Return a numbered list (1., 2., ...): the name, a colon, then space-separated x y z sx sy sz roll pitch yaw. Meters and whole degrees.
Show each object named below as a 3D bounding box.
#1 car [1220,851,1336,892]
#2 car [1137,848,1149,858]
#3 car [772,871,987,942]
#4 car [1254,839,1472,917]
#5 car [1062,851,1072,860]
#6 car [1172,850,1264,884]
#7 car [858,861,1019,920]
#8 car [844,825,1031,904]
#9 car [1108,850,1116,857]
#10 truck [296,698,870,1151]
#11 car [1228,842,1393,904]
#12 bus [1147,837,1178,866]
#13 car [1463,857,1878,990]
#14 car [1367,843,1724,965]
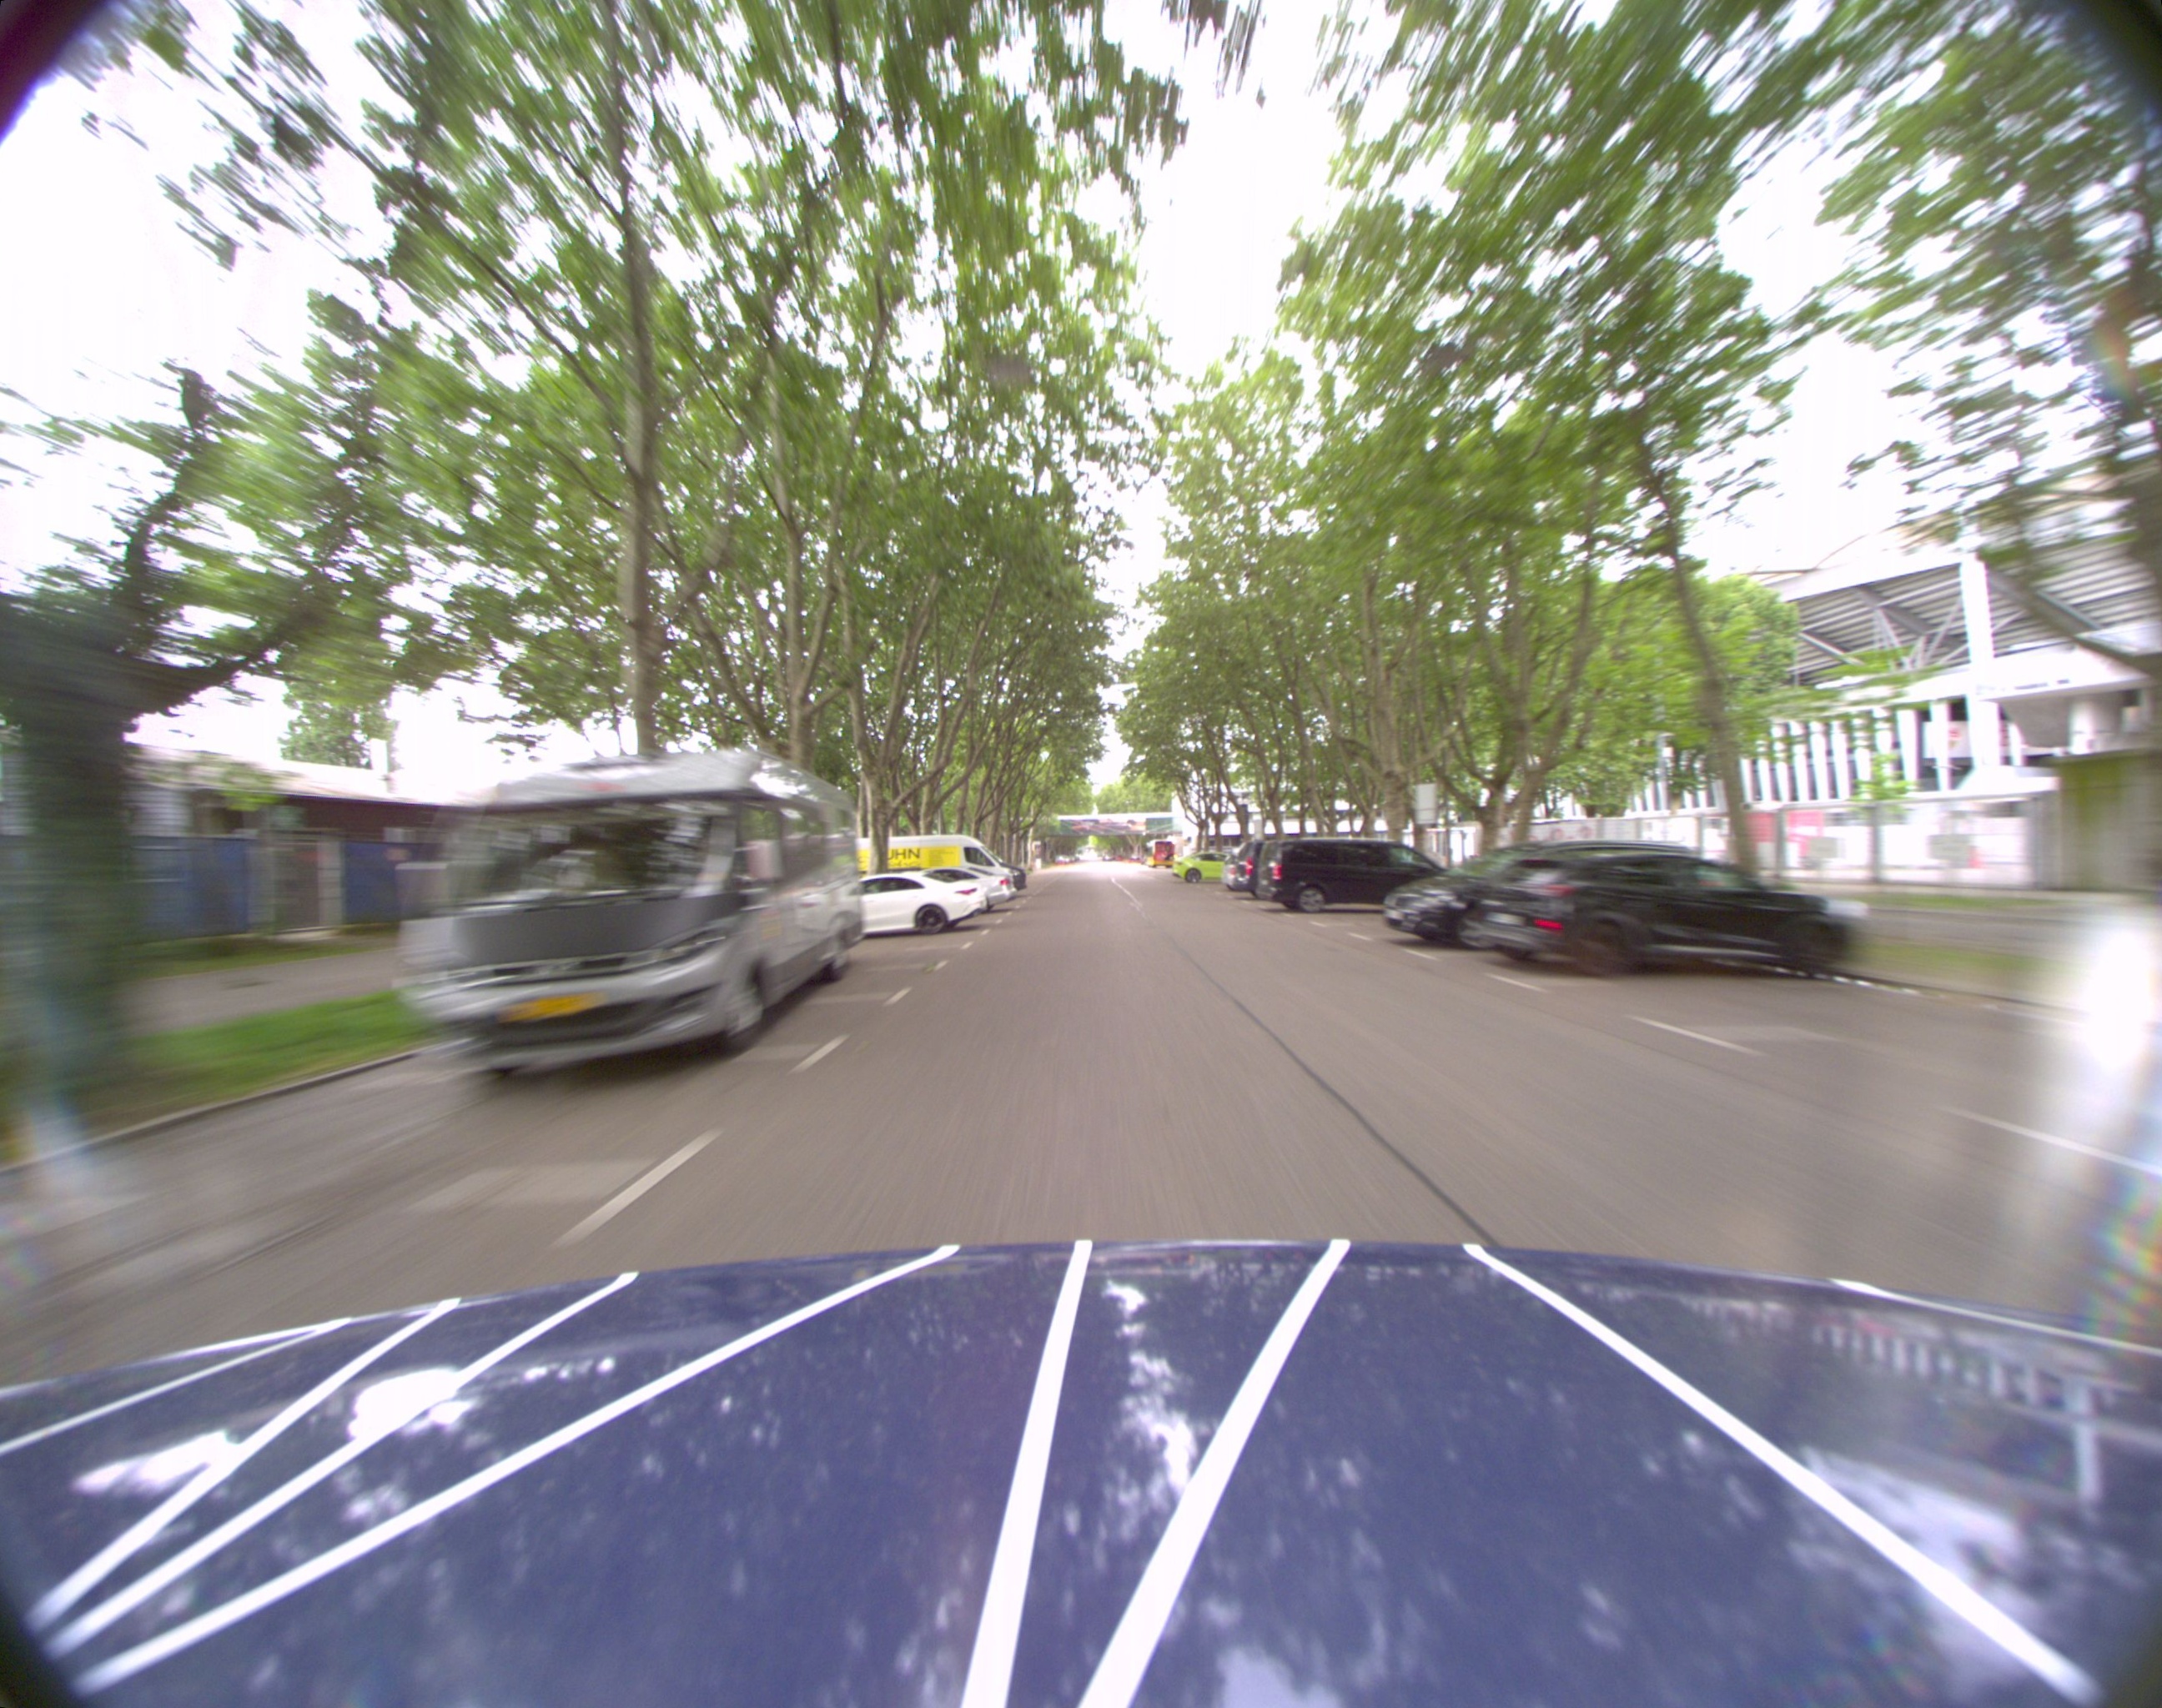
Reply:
1. car: 7.759 0.687 30.147 4.117 1.559 1.757 0 0 -4
2. car: 11.704 -0.200 143.633 1.929 1.721 4.233 2 0 0
3. car: -4.441 1.151 17.163 4.330 1.294 1.700 -3 1 1
4. car: 7.216 0.595 19.926 4.917 1.913 2.208 0 0 1
5. car: -2.538 0.293 140.562 1.757 1.687 4.497 -1 0 -1
6. car: 7.124 0.675 39.743 4.527 1.608 1.758 -1 1 3
7. car: -4.069 1.024 22.165 4.371 1.437 1.612 -3 1 -3
8. car: -5.479 0.387 29.851 6.900 2.679 2.126 -3 1 -4
9. car: 7.551 -0.133 186.844 1.757 1.652 4.000 -3 0 1
10. truck: -4.311 0.433 8.847 2.466 2.921 7.532 -3 0 -8
11. car: 7.418 0.592 24.868 4.774 1.913 2.017 0 0 -1
12. bus: 9.415 -0.290 88.681 2.658 3.136 12.369 1 0 2
13. car: 7.228 0.808 9.612 3.907 1.485 1.753 1 1 -1
14. car: 7.220 0.752 12.192 4.590 1.771 1.798 0 0 2
